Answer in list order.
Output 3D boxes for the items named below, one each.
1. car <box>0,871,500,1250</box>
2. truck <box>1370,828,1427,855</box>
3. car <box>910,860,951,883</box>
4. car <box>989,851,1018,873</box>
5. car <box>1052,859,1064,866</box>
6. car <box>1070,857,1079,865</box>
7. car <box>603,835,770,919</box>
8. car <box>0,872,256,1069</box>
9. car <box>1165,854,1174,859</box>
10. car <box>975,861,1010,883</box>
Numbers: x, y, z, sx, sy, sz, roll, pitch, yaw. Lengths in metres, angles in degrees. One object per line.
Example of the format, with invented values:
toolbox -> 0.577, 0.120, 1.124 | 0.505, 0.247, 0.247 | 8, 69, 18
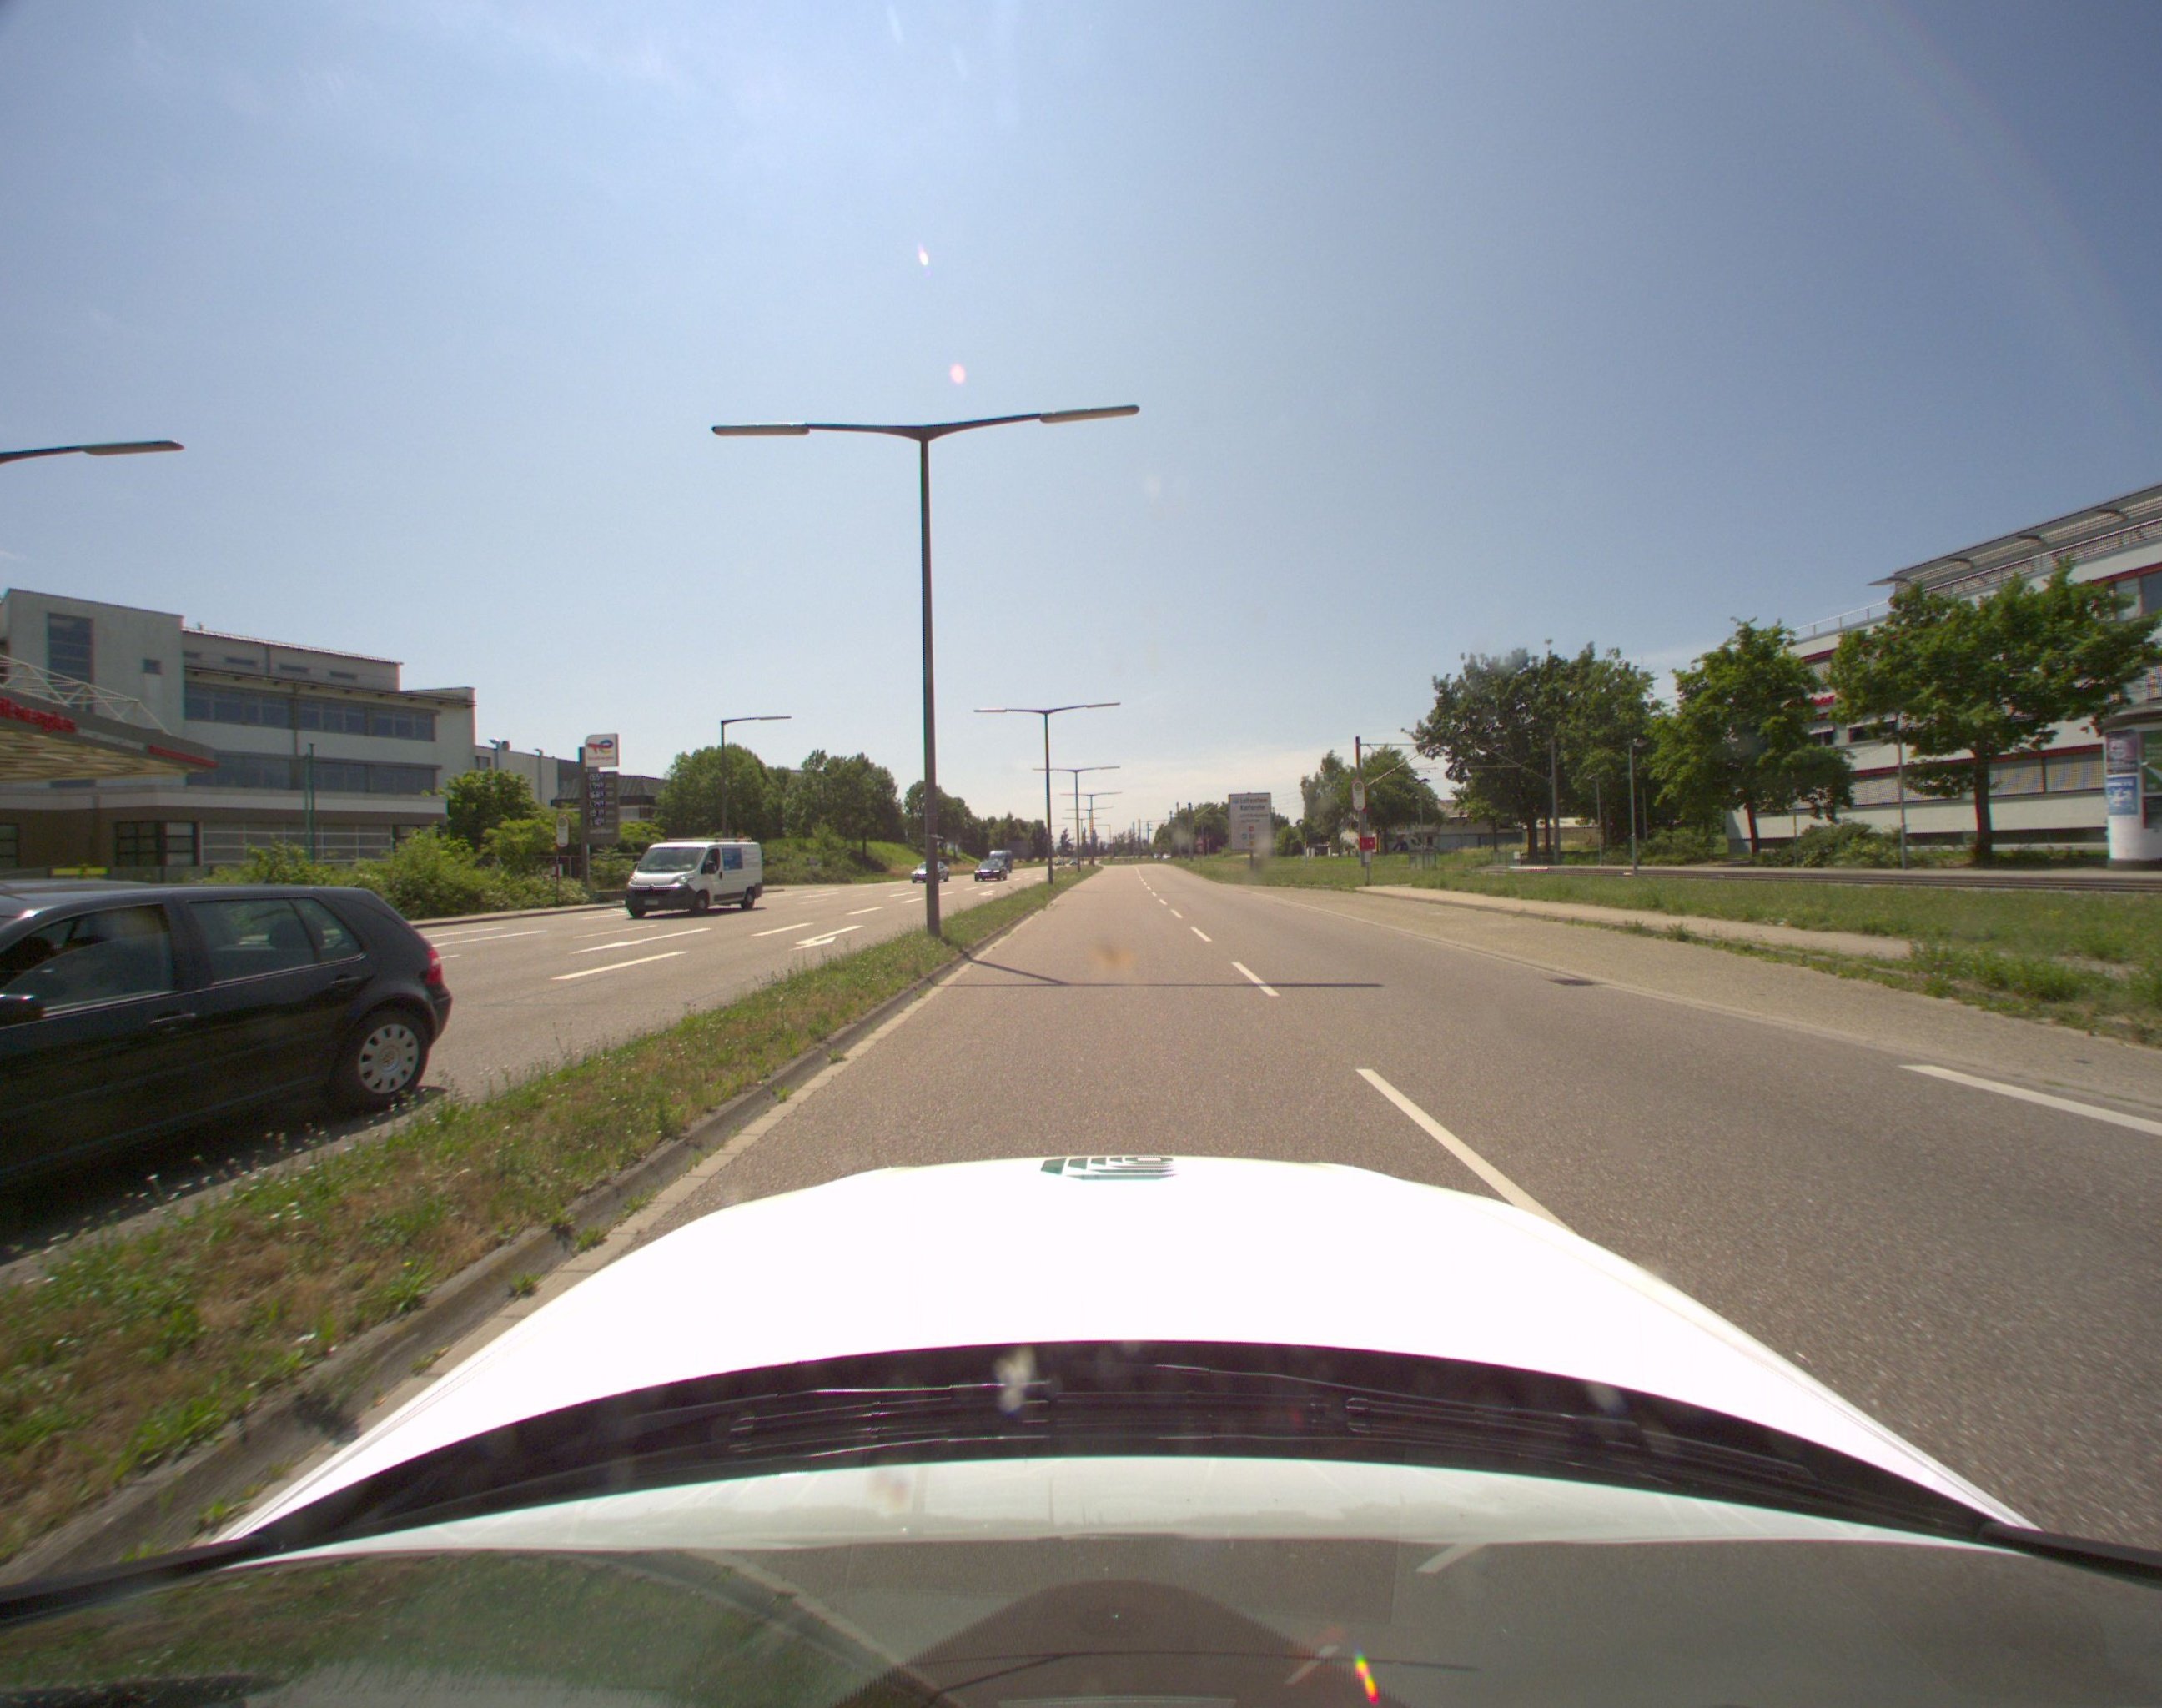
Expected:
car -> -5.069, 0.848, 3.808 | 1.670, 1.434, 4.190 | -1, 0, 0
truck -> 38.090, -1.540, 97.791 | 5.833, 2.843, 2.315 | -3, -1, -6
car -> -10.438, 1.195, 56.812 | 1.824, 1.449, 4.852 | -2, 0, 1
car -> -8.650, 0.885, 91.850 | 2.163, 2.411, 5.680 | -2, 0, 5
car -> -4.778, 1.824, 171.810 | 1.985, 1.360, 4.670 | -3, 0, 3
car -> -1.388, 1.504, 177.336 | 1.686, 1.492, 4.001 | -2, 0, 1
car -> -11.716, 0.636, 24.762 | 2.240, 2.273, 5.452 | -1, 0, 2
car -> -8.894, 0.912, 6.271 | 1.442, 1.446, 3.506 | -1, 0, 1
car -> 20.696, 0.647, 191.472 | 1.559, 1.179, 3.074 | -2, 0, -4
car -> -6.274, 1.242, 58.260 | 1.724, 1.458, 4.567 | -2, 0, 3
